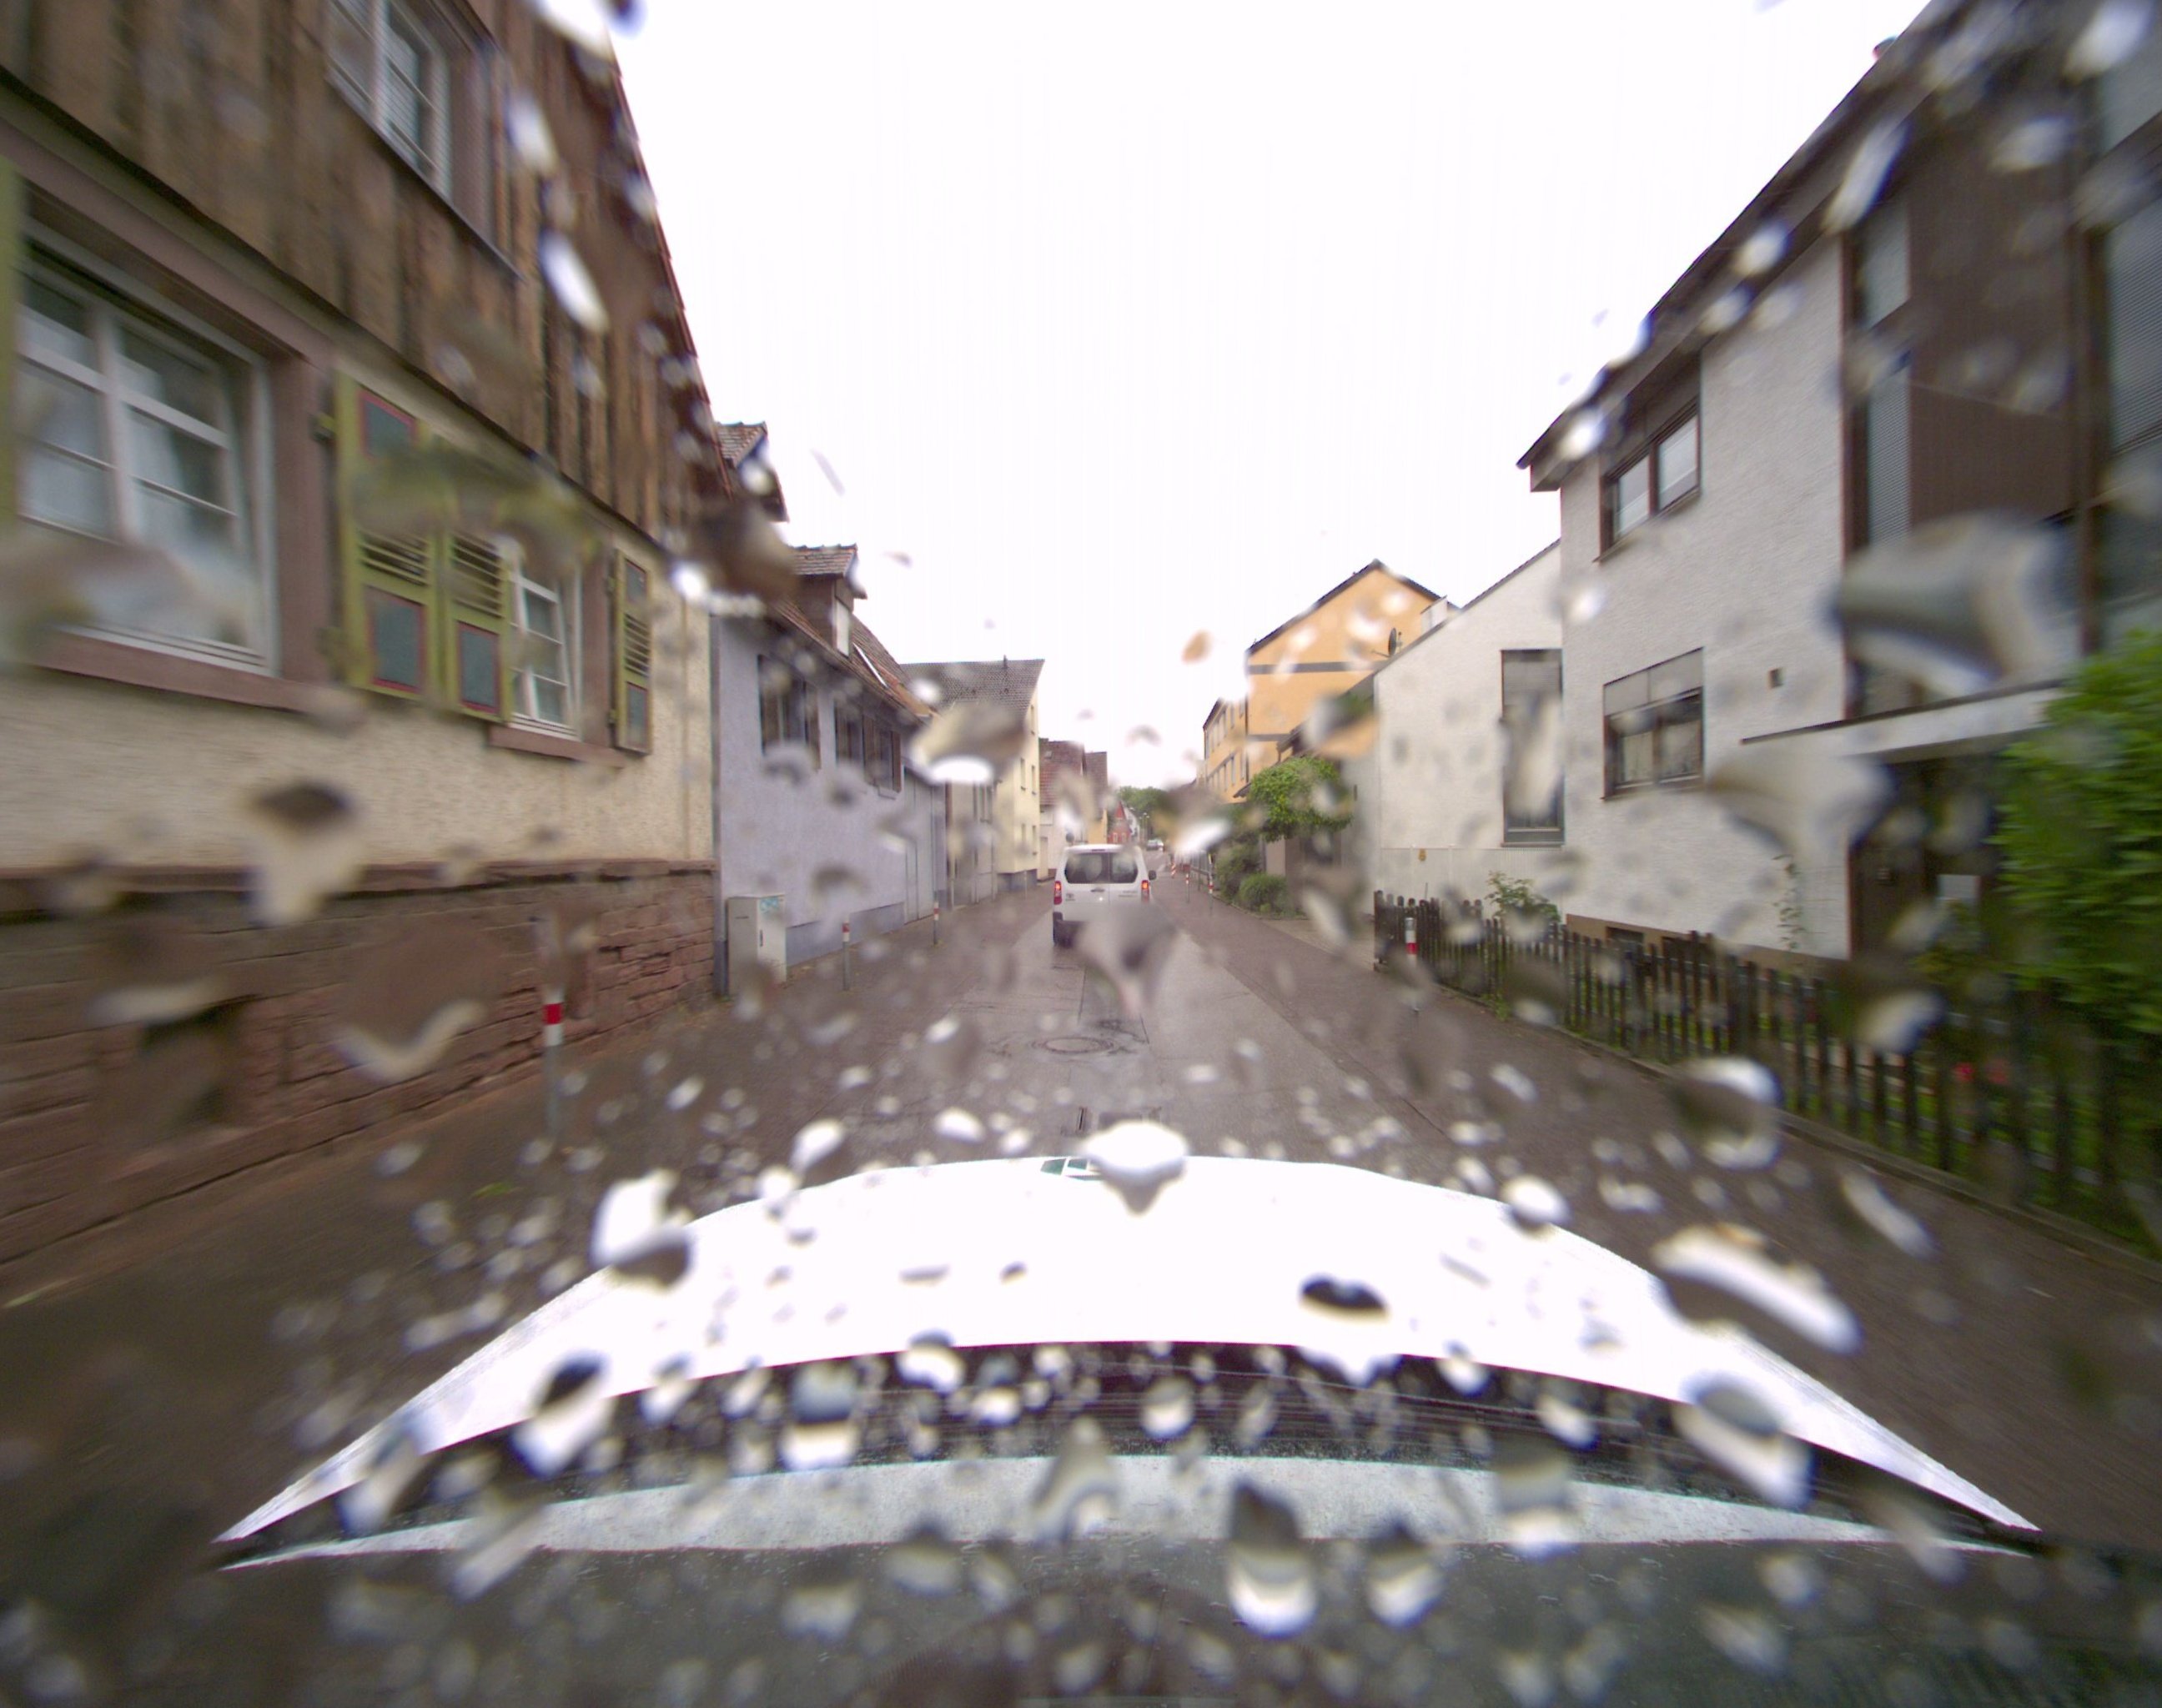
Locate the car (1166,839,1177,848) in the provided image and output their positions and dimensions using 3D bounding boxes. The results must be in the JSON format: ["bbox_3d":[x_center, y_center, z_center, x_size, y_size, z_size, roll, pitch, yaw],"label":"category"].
[{"bbox_3d":[15.243,-1.712,136.721,1.579,1.441,3.775,0,0,9],"label":"car"}]

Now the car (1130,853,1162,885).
[{"bbox_3d":[4.449,0.955,55.074,1.983,2.013,4.007,-2,0,6],"label":"car"}]

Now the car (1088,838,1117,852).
[{"bbox_3d":[2.999,-1.253,111.838,3.433,1.559,1.986,-5,2,-21],"label":"car"}]

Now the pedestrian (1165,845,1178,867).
[{"bbox_3d":[8.345,0.186,74.880,1.046,1.893,0.878,-2,-1,2],"label":"pedestrian"}]

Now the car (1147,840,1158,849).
[{"bbox_3d":[11.909,-1.638,135.595,1.579,1.441,3.776,0,0,10],"label":"car"}]

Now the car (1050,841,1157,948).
[{"bbox_3d":[0.458,0.696,15.926,1.768,1.780,4.002,-2,0,2],"label":"car"}]
